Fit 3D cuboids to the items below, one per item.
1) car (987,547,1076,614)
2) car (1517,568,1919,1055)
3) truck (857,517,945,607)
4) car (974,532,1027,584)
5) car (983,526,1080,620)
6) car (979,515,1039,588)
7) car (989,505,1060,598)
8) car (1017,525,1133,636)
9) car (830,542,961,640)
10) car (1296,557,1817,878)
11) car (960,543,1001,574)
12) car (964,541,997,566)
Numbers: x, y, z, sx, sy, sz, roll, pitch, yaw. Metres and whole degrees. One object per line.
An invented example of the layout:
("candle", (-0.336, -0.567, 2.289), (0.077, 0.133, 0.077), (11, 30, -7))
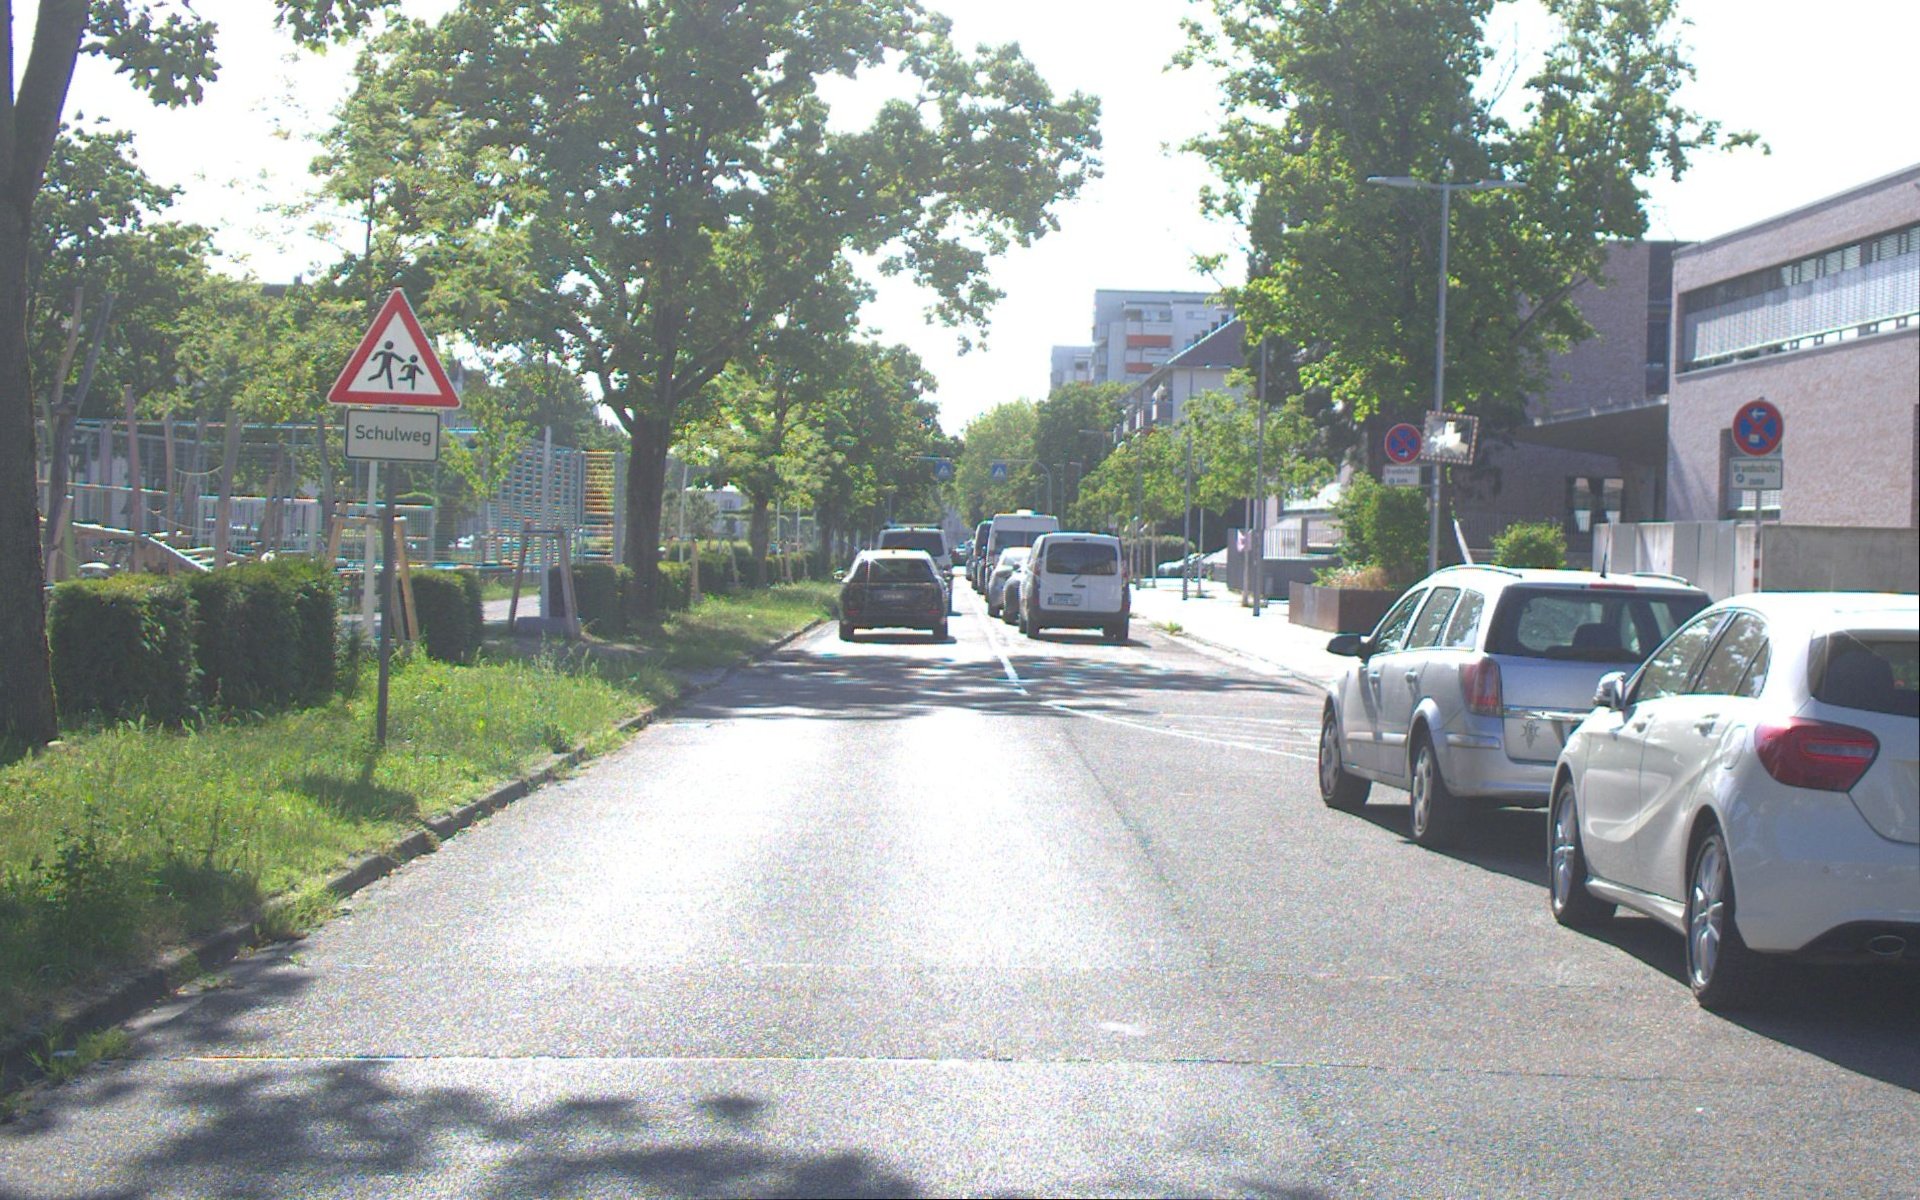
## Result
("car", (1.563, -0.456, 76.483), (1.817, 1.395, 4.000), (2, 1, -1))
("car", (3.370, 0.681, 12.938), (1.795, 1.489, 4.000), (2, 1, -1))
("truck", (-1.391, -0.911, 81.251), (1.993, 2.029, 4.875), (1, 1, -1))
("car", (1.468, -1.544, 125.891), (1.817, 1.828, 4.000), (2, 1, -1))
("car", (1.450, -0.578, 70.811), (1.817, 1.824, 4.000), (2, 1, -1))
("car", (1.598, -1.621, 113.899), (1.817, 2.345, 4.000), (2, 1, -1))
("car", (1.784, -1.381, 96.862), (1.817, 2.509, 4.000), (2, 1, -1))
("car", (1.988, -0.370, 60.309), (1.817, 1.824, 4.000), (2, 1, -1))
("car", (-1.128, -0.186, 57.526), (1.993, 1.519, 4.756), (1, 1, -3))
("car", (3.164, 0.562, 19.070), (1.795, 1.489, 4.001), (2, 1, -5))
("car", (0.932, -1.938, 160.815), (1.817, 1.354, 4.000), (2, 1, -1))
("car", (1.175, -2.727, 201.414), (1.817, 1.354, 4.000), (2, 1, -1))
